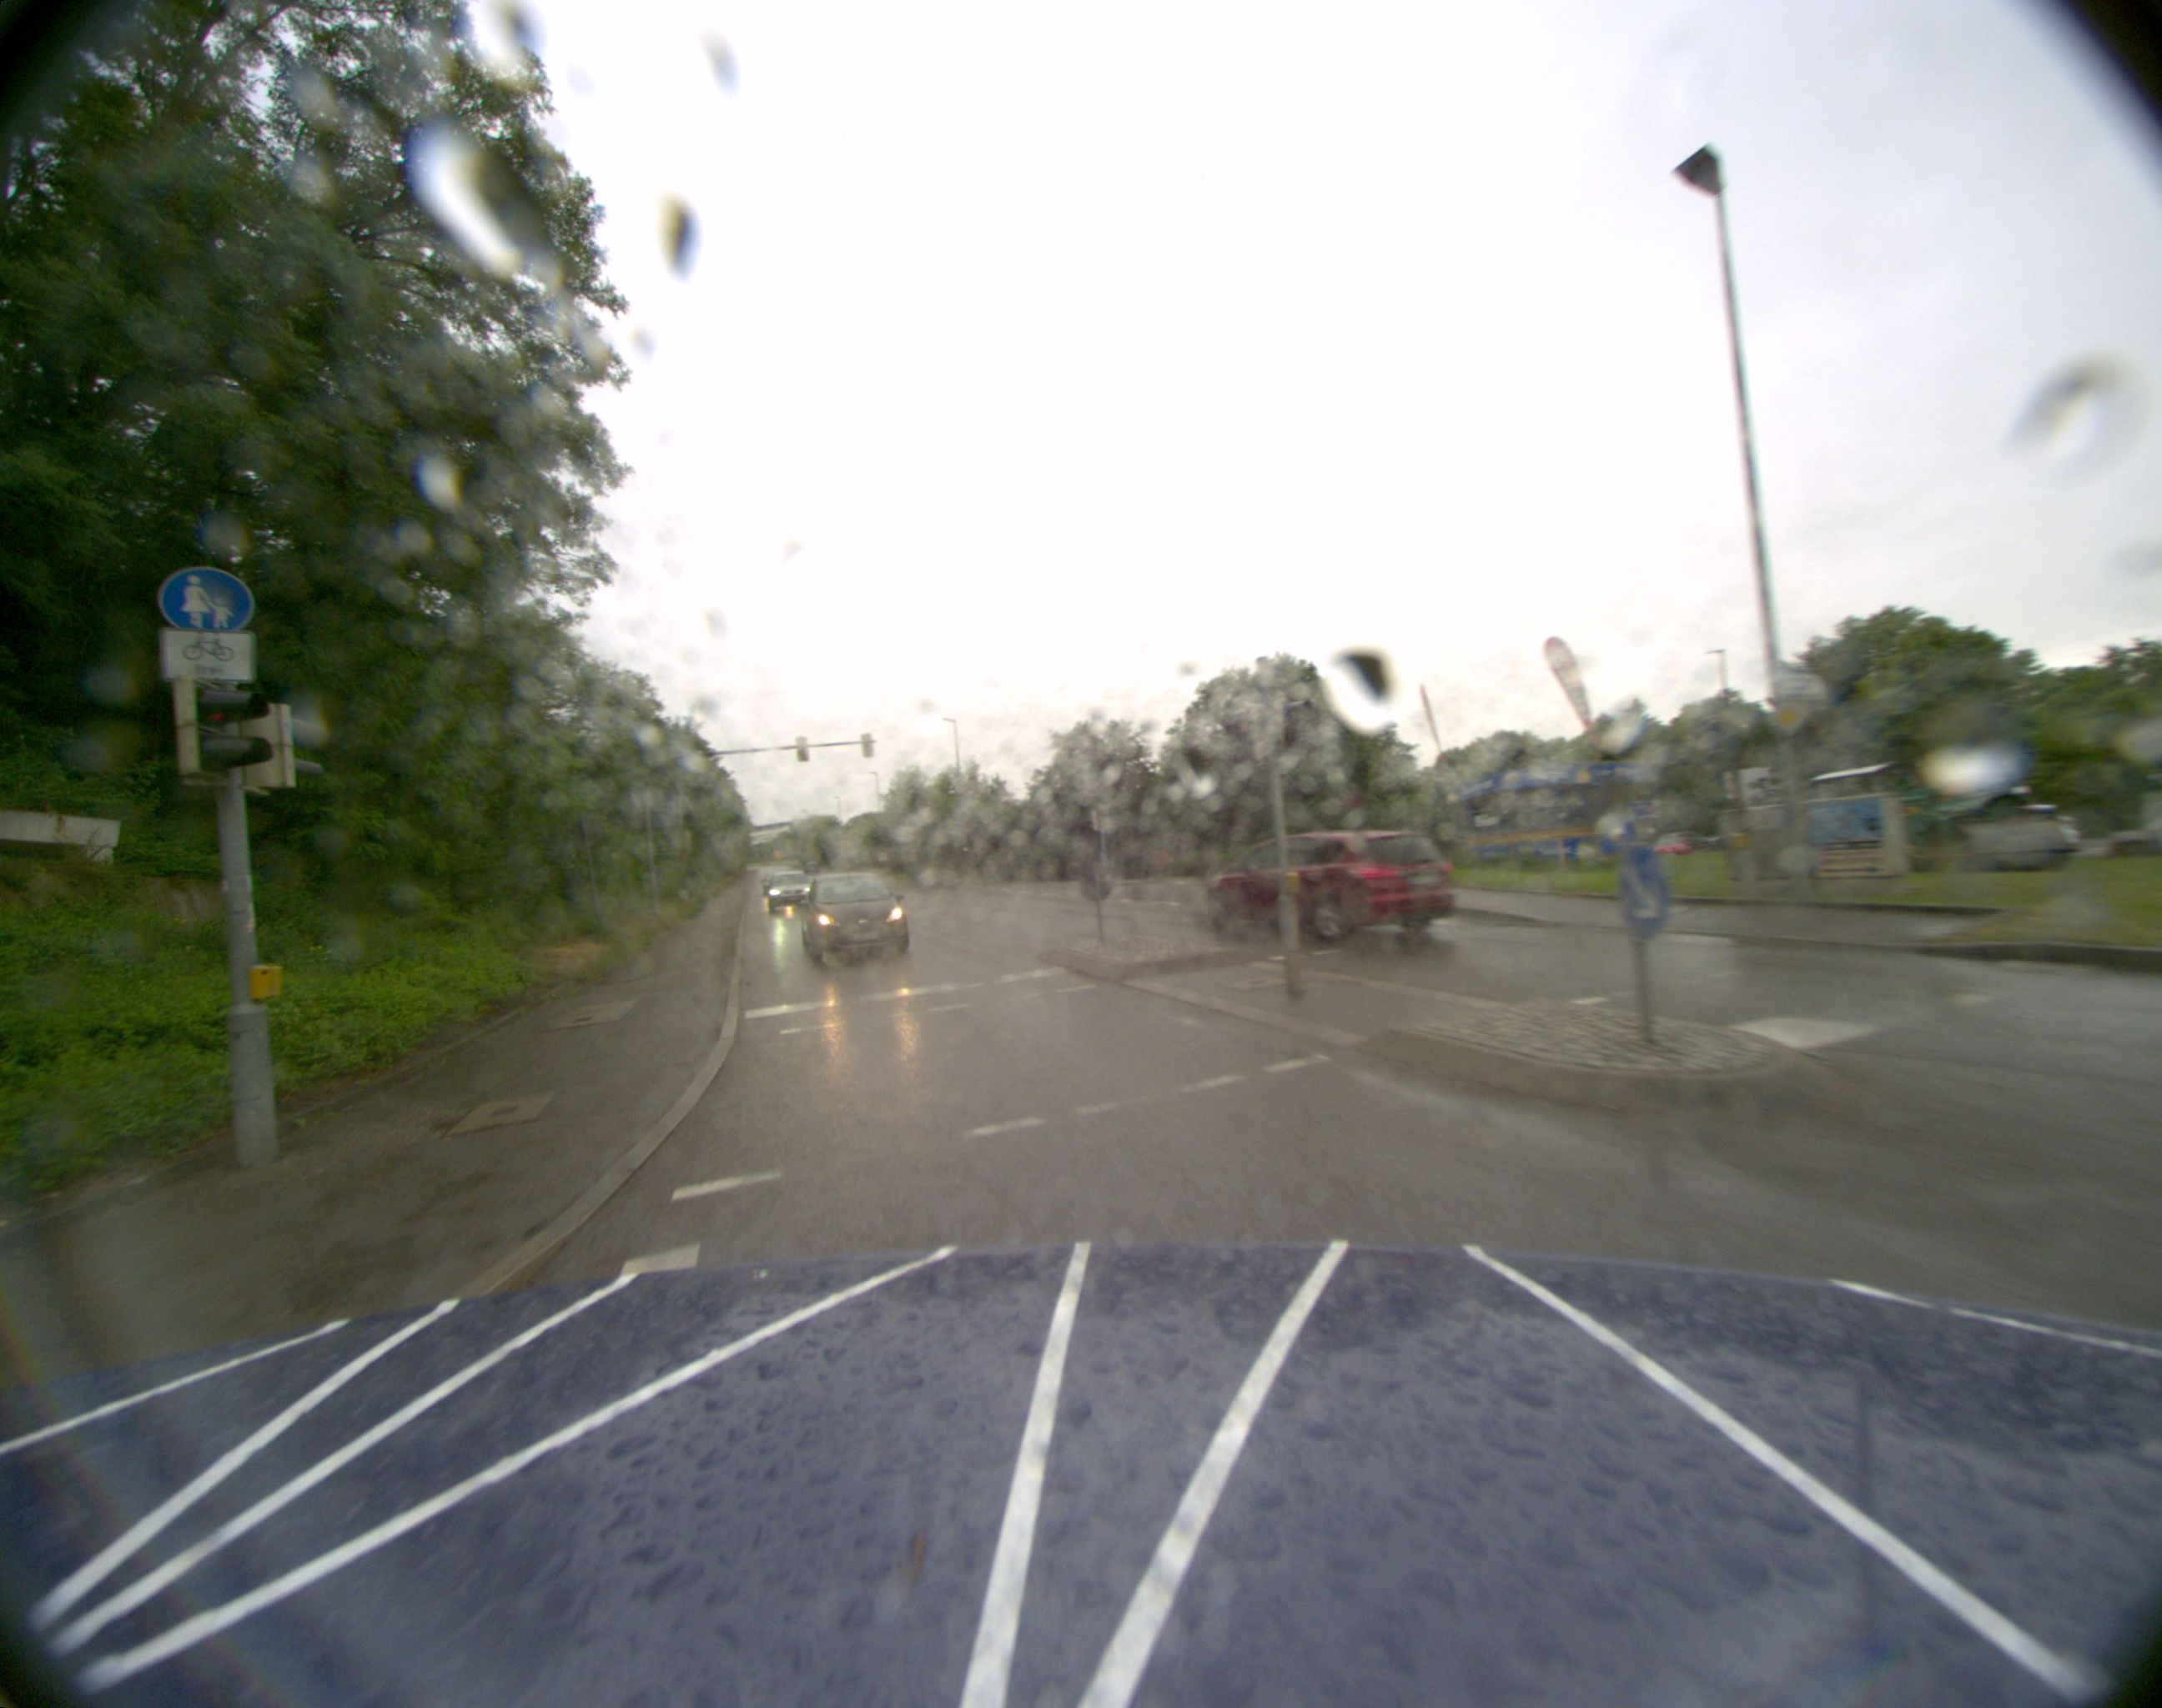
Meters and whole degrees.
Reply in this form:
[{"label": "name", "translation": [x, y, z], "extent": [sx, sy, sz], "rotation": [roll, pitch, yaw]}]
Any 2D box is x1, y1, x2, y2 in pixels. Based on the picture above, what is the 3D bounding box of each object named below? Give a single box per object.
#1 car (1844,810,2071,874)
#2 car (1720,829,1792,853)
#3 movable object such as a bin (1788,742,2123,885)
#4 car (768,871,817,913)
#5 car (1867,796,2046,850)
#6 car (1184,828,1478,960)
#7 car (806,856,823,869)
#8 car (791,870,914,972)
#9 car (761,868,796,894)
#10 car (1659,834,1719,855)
[{"label": "car", "translation": [24.162, -0.285, 21.098], "extent": [1.673, 1.565, 3.990], "rotation": [-3, 0, -38]}, {"label": "car", "translation": [48.195, -0.938, 54.275], "extent": [3.599, 1.502, 1.570], "rotation": [-3, 0, 3]}, {"label": "movable object such as a bin", "translation": [19.663, -0.752, 17.672], "extent": [2.307, 2.670, 5.710], "rotation": [-3, -1, 16]}, {"label": "car", "translation": [-11.725, 1.485, 30.897], "extent": [1.684, 1.498, 4.147], "rotation": [-3, 0, -21]}, {"label": "car", "translation": [33.605, -1.145, 29.278], "extent": [1.925, 1.755, 4.378], "rotation": [-3, 0, -37]}, {"label": "car", "translation": [3.838, 0.565, 12.665], "extent": [1.905, 1.704, 4.673], "rotation": [-3, 0, -25]}, {"label": "car", "translation": [-33.993, 1.132, 96.924], "extent": [1.740, 1.565, 3.862], "rotation": [-3, 0, -23]}, {"label": "car", "translation": [-4.495, 1.141, 14.547], "extent": [1.684, 1.561, 3.881], "rotation": [-4, 0, -24]}, {"label": "car", "translation": [-19.508, 1.700, 48.843], "extent": [1.685, 1.498, 4.145], "rotation": [-3, 0, -26]}, {"label": "car", "translation": [48.569, -0.753, 60.733], "extent": [3.425, 1.502, 1.570], "rotation": [-3, 0, 3]}]
